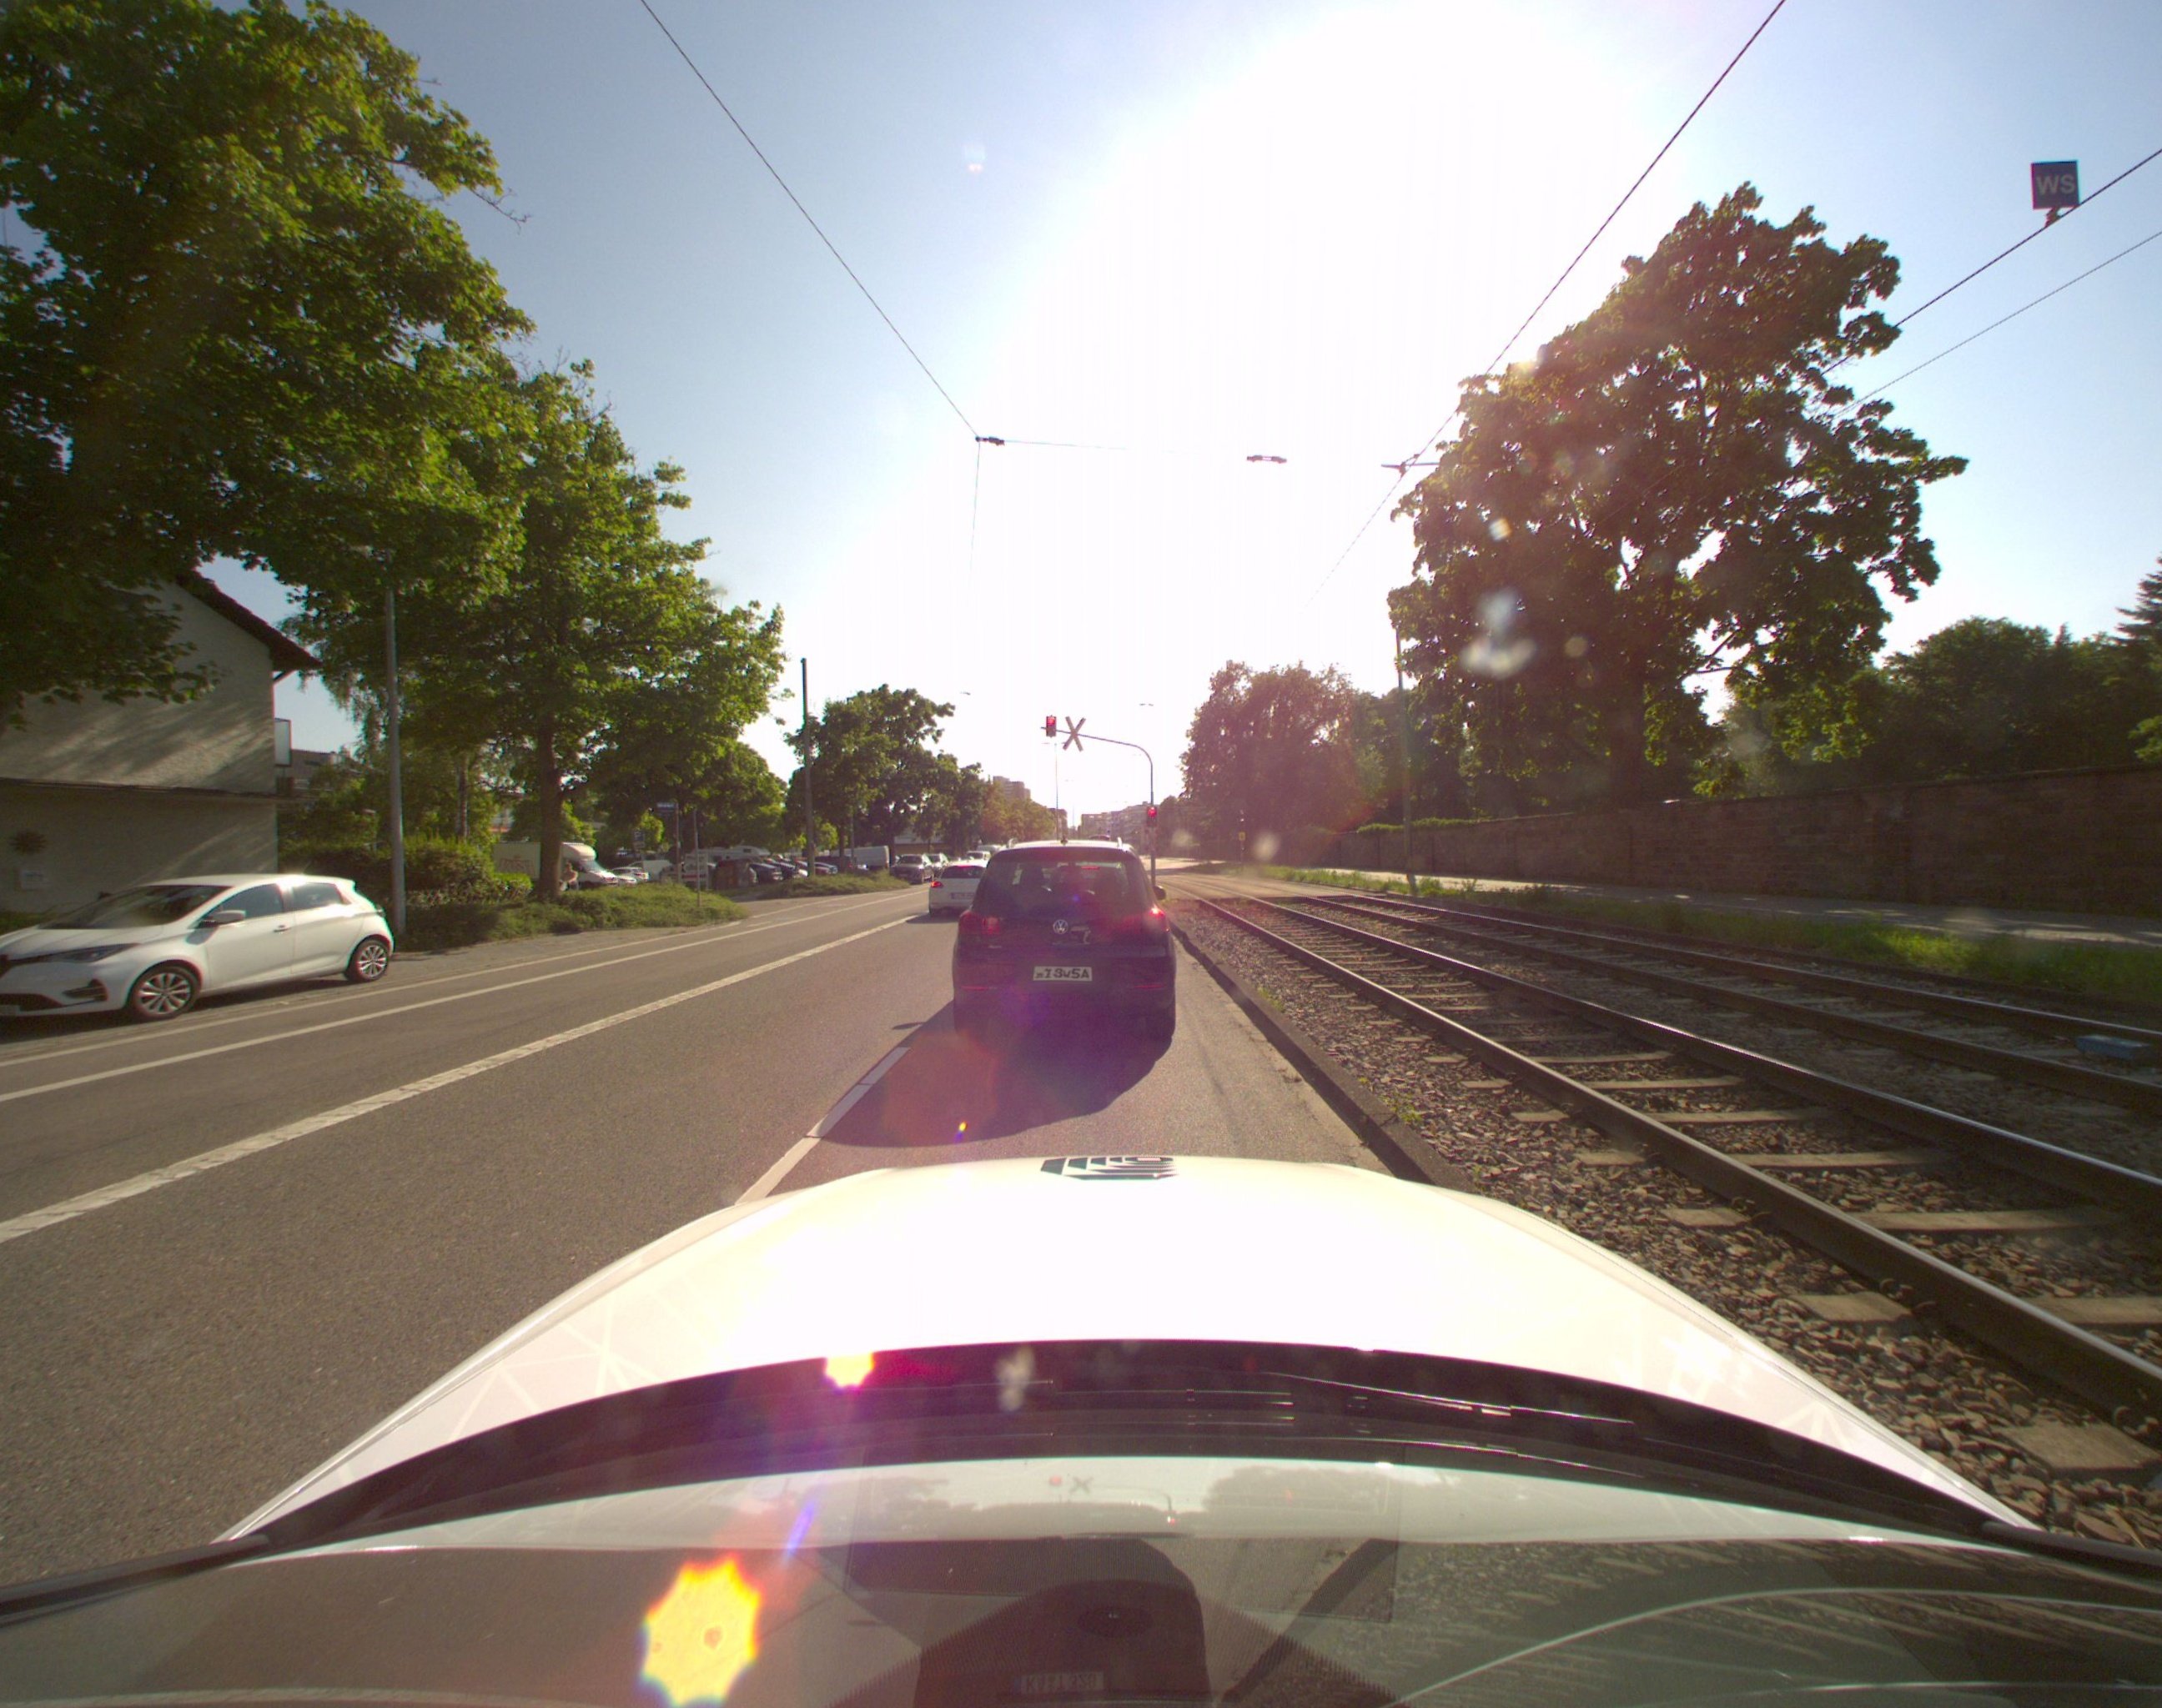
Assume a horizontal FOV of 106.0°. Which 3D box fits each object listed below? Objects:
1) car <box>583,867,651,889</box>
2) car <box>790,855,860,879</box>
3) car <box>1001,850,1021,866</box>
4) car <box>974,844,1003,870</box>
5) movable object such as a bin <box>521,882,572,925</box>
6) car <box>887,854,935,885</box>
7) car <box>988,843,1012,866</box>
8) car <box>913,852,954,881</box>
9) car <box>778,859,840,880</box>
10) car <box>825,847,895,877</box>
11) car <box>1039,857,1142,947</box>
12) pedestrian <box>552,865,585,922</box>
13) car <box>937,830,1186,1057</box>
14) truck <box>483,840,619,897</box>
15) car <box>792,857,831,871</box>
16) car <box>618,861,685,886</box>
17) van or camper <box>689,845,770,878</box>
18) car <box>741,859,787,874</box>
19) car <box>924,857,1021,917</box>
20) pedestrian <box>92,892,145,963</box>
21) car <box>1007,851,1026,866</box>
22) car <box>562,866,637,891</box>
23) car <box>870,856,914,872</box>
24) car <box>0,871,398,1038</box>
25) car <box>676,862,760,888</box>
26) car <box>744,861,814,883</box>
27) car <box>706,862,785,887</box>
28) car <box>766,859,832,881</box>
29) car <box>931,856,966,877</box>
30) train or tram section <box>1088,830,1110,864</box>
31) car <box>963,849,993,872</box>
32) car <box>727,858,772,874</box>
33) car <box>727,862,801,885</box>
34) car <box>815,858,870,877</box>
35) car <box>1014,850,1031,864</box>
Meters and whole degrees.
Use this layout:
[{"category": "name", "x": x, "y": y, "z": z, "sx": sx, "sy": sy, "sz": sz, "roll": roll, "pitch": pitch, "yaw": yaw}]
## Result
[{"category": "car", "x": -33.131, "y": 1.697, "z": 58.213, "sx": 3.966, "sy": 1.361, "sz": 1.630, "roll": -2, "pitch": 0, "yaw": 6}, {"category": "car", "x": -19.623, "y": 0.965, "z": 62.574, "sx": 4.604, "sy": 1.651, "sz": 2.048, "roll": -2, "pitch": 0, "yaw": -1}, {"category": "car", "x": -8.202, "y": 0.430, "z": 95.722, "sx": 1.724, "sy": 1.694, "sz": 4.004, "roll": -2, "pitch": 1, "yaw": 3}, {"category": "car", "x": -8.737, "y": 0.257, "z": 77.247, "sx": 1.856, "sy": 2.347, "sz": 4.989, "roll": -2, "pitch": 0, "yaw": 3}, {"category": "movable object such as a bin", "x": -15.192, "y": 1.394, "z": 23.175, "sx": 0.540, "sy": 1.146, "sz": 1.261, "roll": -2, "pitch": 0, "yaw": 2}, {"category": "car", "x": -9.853, "y": 0.847, "z": 47.456, "sx": 1.724, "sy": 1.657, "sz": 4.003, "roll": -2, "pitch": 0, "yaw": 3}, {"category": "car", "x": -8.334, "y": 0.038, "z": 84.071, "sx": 1.724, "sy": 2.268, "sz": 4.648, "roll": -2, "pitch": 0, "yaw": 3}, {"category": "car", "x": -9.603, "y": 0.772, "z": 53.215, "sx": 1.724, "sy": 1.694, "sz": 4.004, "roll": -2, "pitch": 1, "yaw": 3}, {"category": "car", "x": -20.051, "y": 1.107, "z": 60.188, "sx": 3.976, "sy": 1.397, "sz": 1.736, "roll": -2, "pitch": 0, "yaw": -2}, {"category": "car", "x": -19.108, "y": 0.659, "z": 70.574, "sx": 5.356, "sy": 2.423, "sz": 2.088, "roll": -2, "pitch": 0, "yaw": 1}, {"category": "car", "x": 0.220, "y": 0.800, "z": 15.441, "sx": 1.663, "sy": 1.386, "sz": 4.002, "roll": -2, "pitch": 0, "yaw": 2}, {"category": "pedestrian", "x": -15.167, "y": 1.157, "z": 24.108, "sx": 0.522, "sy": 1.628, "sz": 0.610, "roll": -2, "pitch": 0, "yaw": 1}, {"category": "car", "x": -0.079, "y": 0.661, "z": 7.953, "sx": 1.804, "sy": 1.645, "sz": 4.002, "roll": -1, "pitch": 0, "yaw": 2}, {"category": "truck", "x": -32.716, "y": 0.882, "z": 50.400, "sx": 6.941, "sy": 3.242, "sz": 1.987, "roll": -2, "pitch": 0, "yaw": -1}, {"category": "car", "x": -31.641, "y": 1.177, "z": 95.774, "sx": 3.976, "sy": 1.397, "sz": 1.736, "roll": -2, "pitch": 0, "yaw": -2}, {"category": "car", "x": -31.873, "y": 1.437, "z": 60.497, "sx": 3.981, "sy": 1.728, "sz": 1.623, "roll": -2, "pitch": 0, "yaw": -6}, {"category": "van or camper", "x": -32.586, "y": 0.696, "z": 75.525, "sx": 6.439, "sy": 2.868, "sz": 2.308, "roll": -1, "pitch": 0, "yaw": 2}, {"category": "car", "x": -32.585, "y": 1.235, "z": 83.869, "sx": 3.976, "sy": 1.397, "sz": 1.736, "roll": -2, "pitch": 0, "yaw": -2}, {"category": "car", "x": -2.694, "y": 0.792, "z": 21.157, "sx": 1.858, "sy": 1.348, "sz": 4.002, "roll": -1, "pitch": 0, "yaw": 2}, {"category": "pedestrian", "x": -16.263, "y": 1.232, "z": 13.766, "sx": 0.344, "sy": 1.162, "sz": 0.447, "roll": -2, "pitch": 0, "yaw": 9}, {"category": "car", "x": -8.031, "y": 0.572, "z": 101.785, "sx": 1.724, "sy": 1.694, "sz": 4.004, "roll": -2, "pitch": 1, "yaw": 3}, {"category": "car", "x": -32.717, "y": 1.648, "z": 55.413, "sx": 3.976, "sy": 1.457, "sz": 1.736, "roll": -2, "pitch": 0, "yaw": -2}, {"category": "car", "x": -18.891, "y": 1.014, "z": 81.493, "sx": 3.976, "sy": 1.397, "sz": 1.736, "roll": -2, "pitch": 0, "yaw": -2}, {"category": "car", "x": -10.786, "y": 1.032, "z": 9.978, "sx": 1.596, "sy": 1.550, "sz": 3.892, "roll": 0, "pitch": 0, "yaw": -2}, {"category": "car", "x": -20.781, "y": 1.197, "z": 46.727, "sx": 3.976, "sy": 1.307, "sz": 1.736, "roll": -2, "pitch": 0, "yaw": -2}, {"category": "car", "x": -20.342, "y": 1.219, "z": 54.950, "sx": 3.976, "sy": 1.307, "sz": 1.736, "roll": -2, "pitch": 0, "yaw": -2}, {"category": "car", "x": -20.179, "y": 1.232, "z": 49.129, "sx": 3.976, "sy": 1.307, "sz": 1.736, "roll": -2, "pitch": 0, "yaw": -2}, {"category": "car", "x": -19.750, "y": 1.109, "z": 57.219, "sx": 3.976, "sy": 1.397, "sz": 1.736, "roll": -2, "pitch": 0, "yaw": -2}, {"category": "car", "x": -9.602, "y": 0.895, "z": 59.376, "sx": 1.724, "sy": 1.389, "sz": 3.738, "roll": -2, "pitch": 1, "yaw": 3}, {"category": "train or tram section", "x": 2.048, "y": -0.786, "z": 91.010, "sx": 2.318, "sy": 3.570, "sz": 8.904, "roll": -2, "pitch": 0, "yaw": 2}, {"category": "car", "x": -8.859, "y": 0.551, "z": 70.570, "sx": 1.724, "sy": 1.860, "sz": 4.493, "roll": -2, "pitch": 0, "yaw": 3}, {"category": "car", "x": -32.005, "y": 1.141, "z": 78.683, "sx": 3.653, "sy": 1.397, "sz": 1.736, "roll": -2, "pitch": 0, "yaw": -2}, {"category": "car", "x": -20.079, "y": 1.223, "z": 51.735, "sx": 3.976, "sy": 1.307, "sz": 1.736, "roll": -2, "pitch": 0, "yaw": -2}, {"category": "car", "x": -19.616, "y": 1.076, "z": 67.107, "sx": 3.976, "sy": 1.397, "sz": 1.736, "roll": -2, "pitch": 0, "yaw": -2}, {"category": "car", "x": -7.637, "y": 0.423, "z": 107.100, "sx": 1.724, "sy": 1.694, "sz": 4.004, "roll": -2, "pitch": 1, "yaw": 3}]
